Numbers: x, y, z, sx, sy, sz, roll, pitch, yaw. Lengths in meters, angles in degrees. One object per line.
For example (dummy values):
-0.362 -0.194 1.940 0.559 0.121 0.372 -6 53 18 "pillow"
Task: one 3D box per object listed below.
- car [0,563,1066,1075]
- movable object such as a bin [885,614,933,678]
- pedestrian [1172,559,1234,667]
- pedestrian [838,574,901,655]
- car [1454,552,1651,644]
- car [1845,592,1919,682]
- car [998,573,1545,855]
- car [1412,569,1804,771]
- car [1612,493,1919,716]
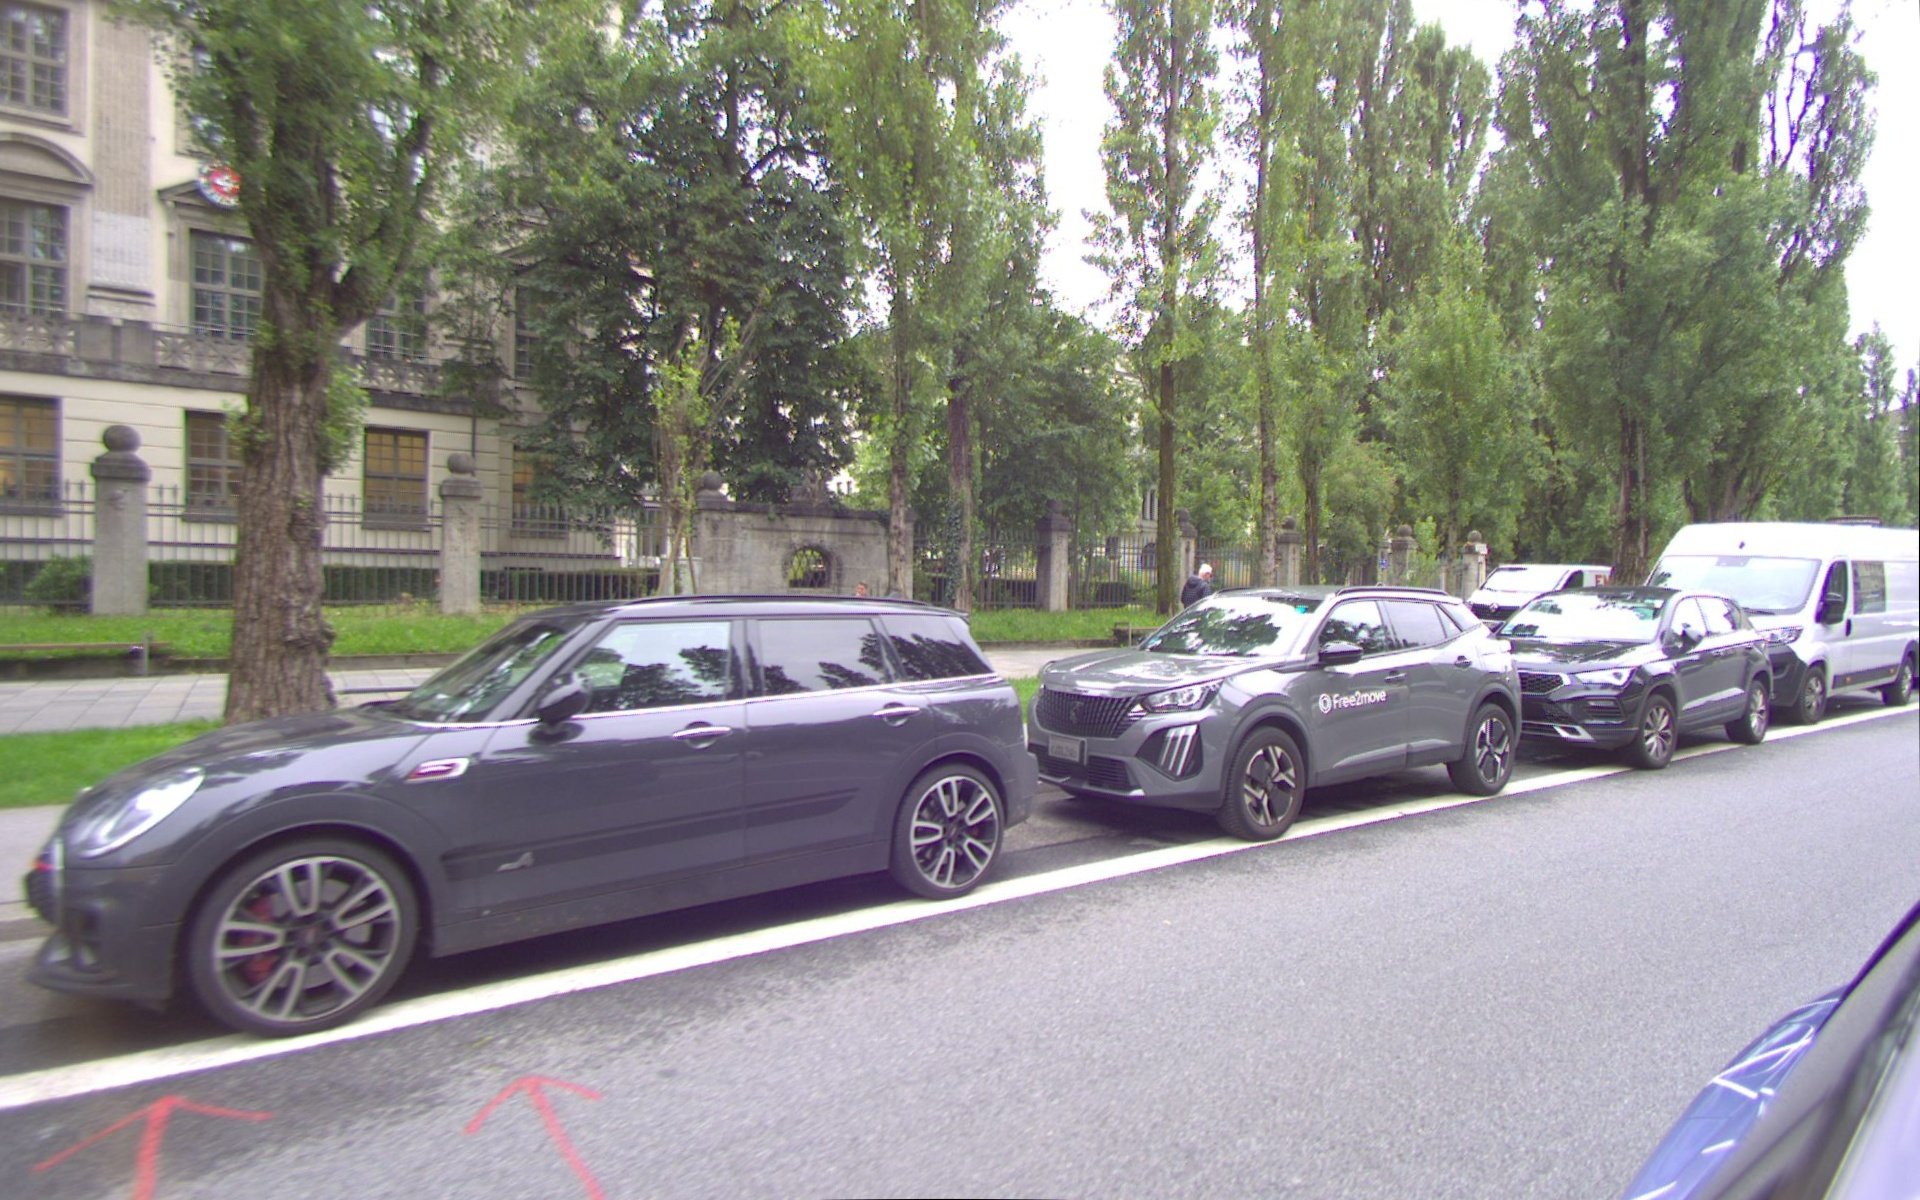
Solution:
-1.588 0.624 4.718 4.069 1.464 1.638 0 -1 -35 "car"
-0.660 0.584 13.030 0.468 0.780 0.490 0 1 -25 "movable object such as a bin"
3.911 0.196 16.314 0.621 1.680 0.717 0 1 -35 "pedestrian"
-1.503 0.225 16.778 0.659 1.259 0.882 1 3 -35 "pedestrian"
13.999 -0.086 23.826 4.985 1.970 2.001 0 2 -34 "car"
17.258 0.609 17.718 3.924 1.468 1.760 0 -1 -35 "car"
2.378 0.599 7.307 4.035 1.522 1.657 0 1 -35 "car"
6.505 0.538 10.026 4.142 1.610 1.827 0 1 -35 "car"
11.541 0.034 13.975 6.163 2.510 2.081 0 0 -35 "car"
